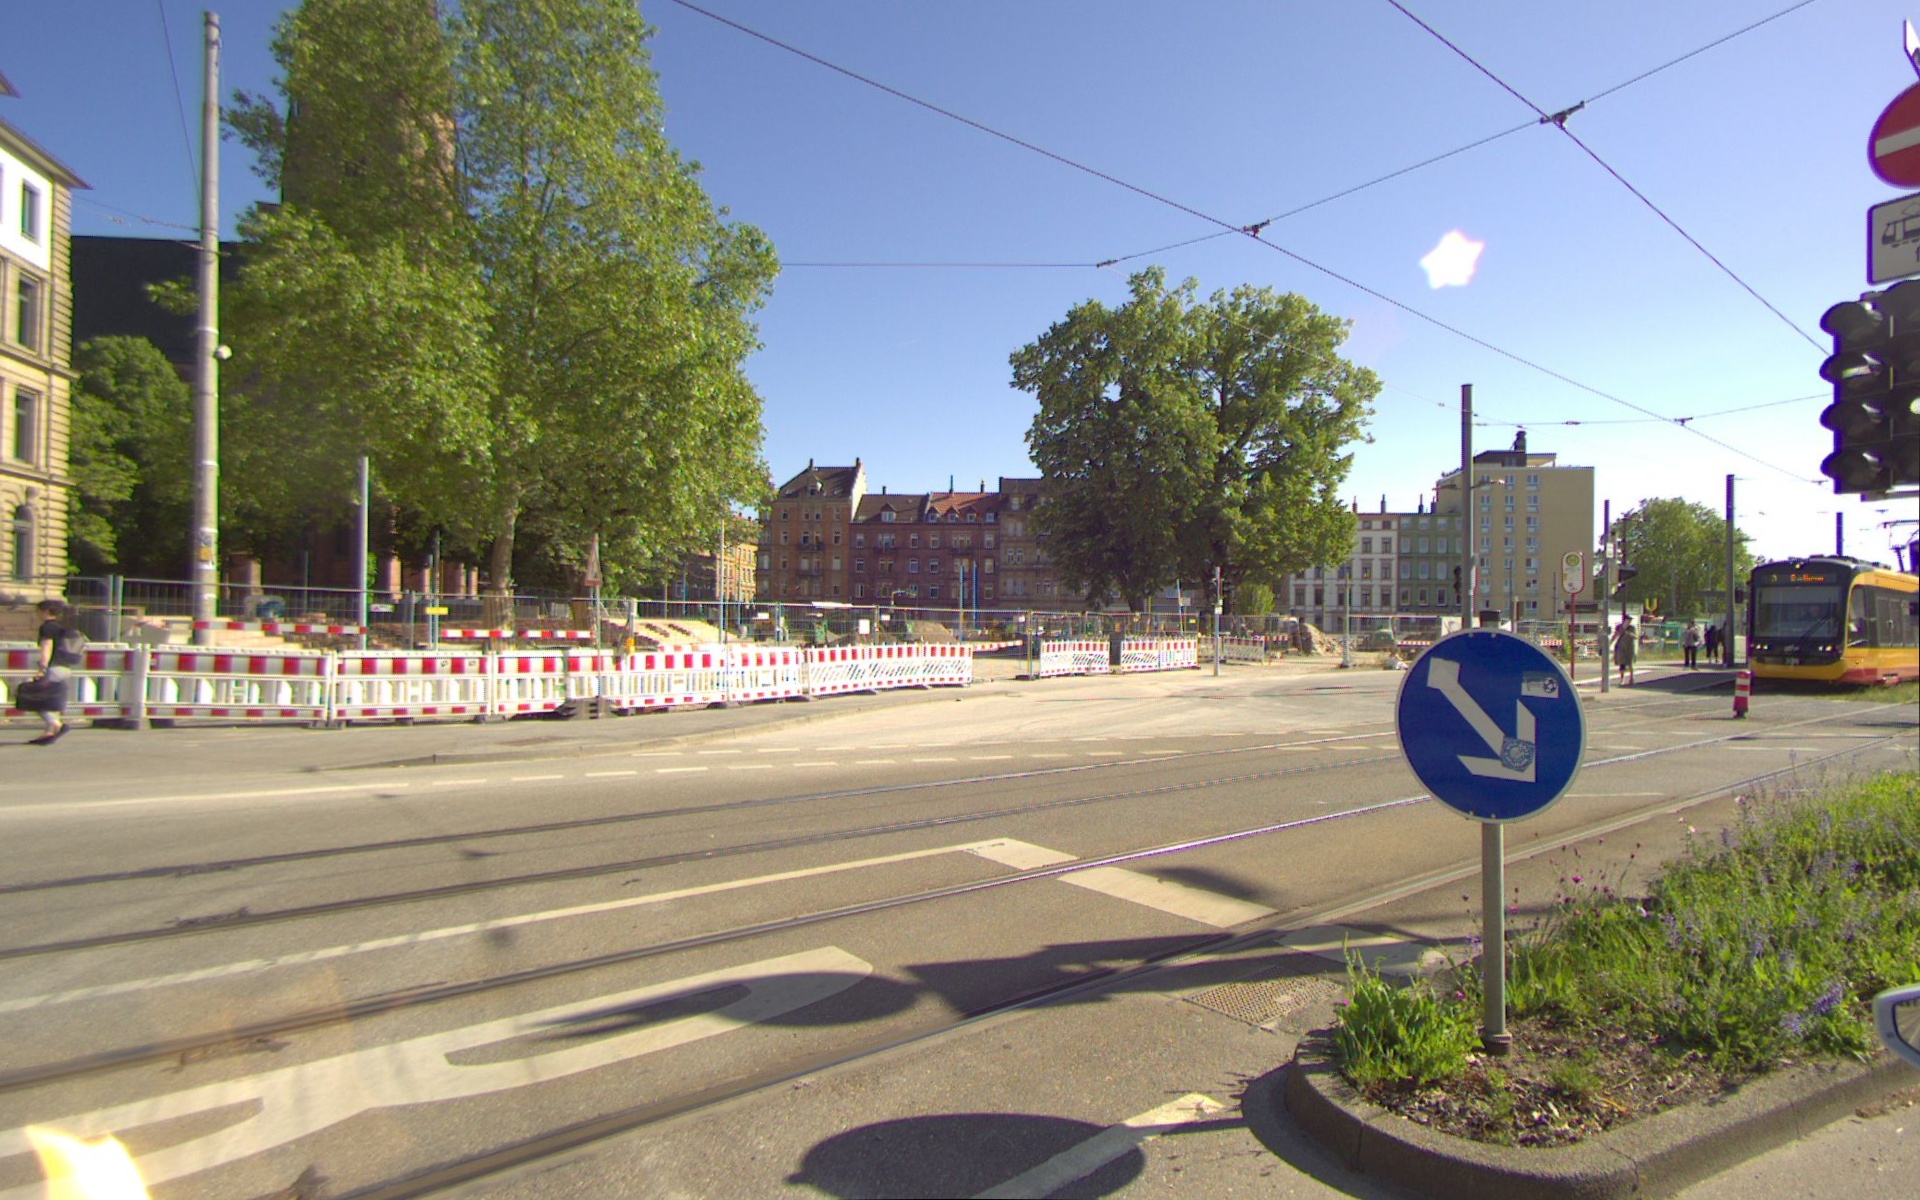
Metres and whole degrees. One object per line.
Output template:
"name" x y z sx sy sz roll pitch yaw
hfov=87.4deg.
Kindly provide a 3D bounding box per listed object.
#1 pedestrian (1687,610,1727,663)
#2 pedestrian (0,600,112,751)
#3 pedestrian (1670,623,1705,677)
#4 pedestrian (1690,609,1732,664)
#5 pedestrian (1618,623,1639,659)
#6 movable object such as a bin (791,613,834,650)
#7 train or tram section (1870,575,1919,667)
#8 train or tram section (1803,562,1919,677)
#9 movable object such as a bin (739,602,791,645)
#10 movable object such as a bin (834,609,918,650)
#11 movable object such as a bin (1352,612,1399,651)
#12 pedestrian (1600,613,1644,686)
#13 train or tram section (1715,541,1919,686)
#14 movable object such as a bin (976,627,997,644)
"pedestrian" 29.939 1.464 40.271 0.988 2.040 0.955 3 -1 -32
"pedestrian" -10.656 0.874 11.772 0.836 1.691 0.725 4 -3 -27
"pedestrian" 24.649 1.693 34.047 0.850 1.791 0.972 0 -1 30
"pedestrian" 28.937 1.400 38.704 0.988 2.040 0.955 3 -1 -32
"pedestrian" 33.923 2.071 50.974 0.793 1.791 0.662 2 -2 -40
"movable object such as a bin" -10.043 2.144 68.519 1.856 2.377 4.232 2 -1 5
"train or tram section" 41.411 0.962 42.297 11.112 3.554 2.794 2 0 -39
"train or tram section" 33.016 0.731 35.558 10.519 3.554 2.794 2 0 -39
"movable object such as a bin" -15.501 1.874 80.189 3.058 3.215 5.248 2 -1 0
"movable object such as a bin" -6.320 2.197 75.880 5.964 2.795 1.895 2 -1 2
"movable object such as a bin" 31.435 2.376 76.116 1.797 2.833 4.000 2 -1 0
"pedestrian" 17.738 1.302 26.895 0.895 1.875 0.755 -1 1 -40
"train or tram section" 24.908 0.483 28.931 10.393 3.554 2.794 2 -2 -40
"movable object such as a bin" 2.631 3.511 99.859 1.715 1.702 3.804 0 -1 7
